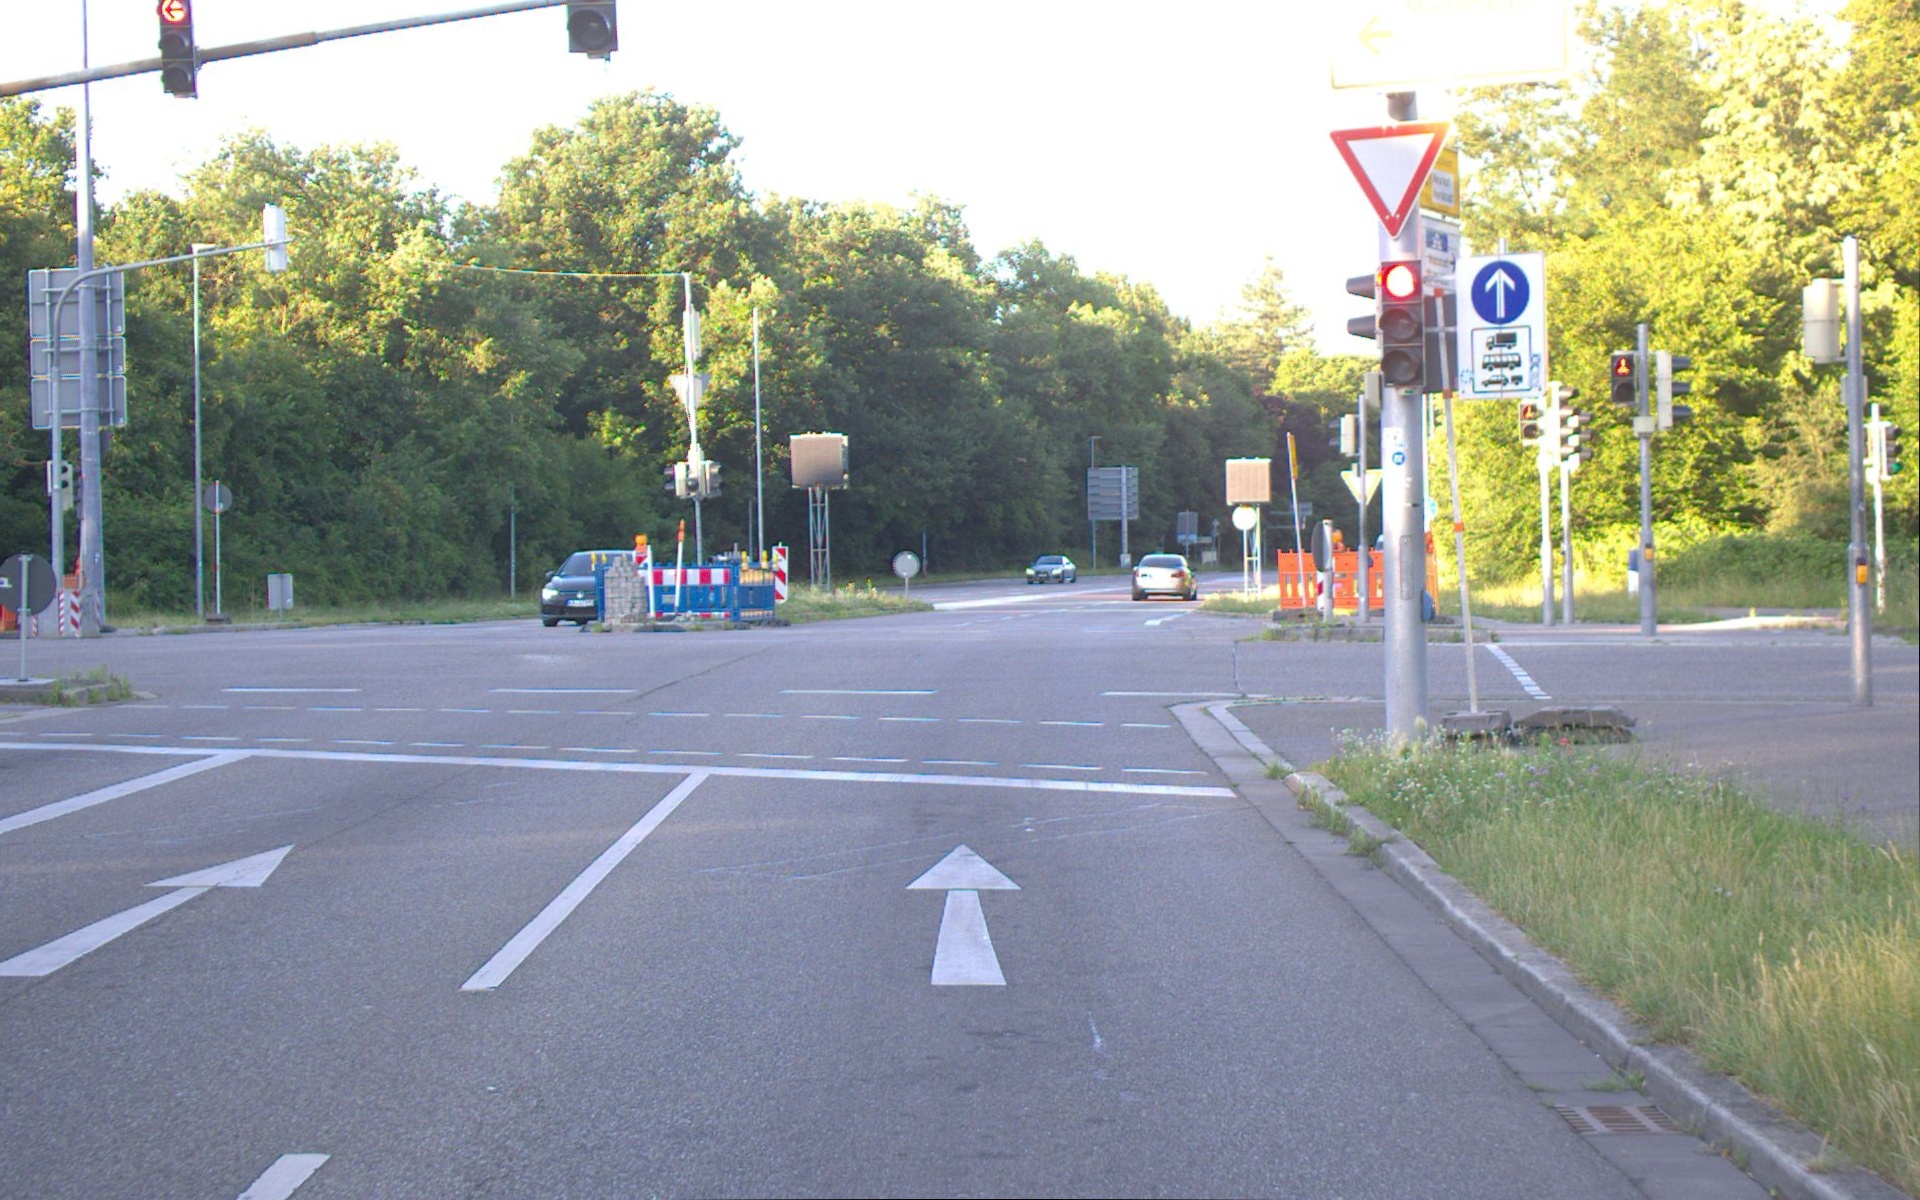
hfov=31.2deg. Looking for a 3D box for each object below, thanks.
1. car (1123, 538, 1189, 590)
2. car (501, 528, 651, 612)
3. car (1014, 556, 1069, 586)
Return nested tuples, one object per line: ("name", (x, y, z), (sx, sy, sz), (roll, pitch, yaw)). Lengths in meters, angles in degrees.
("car", (6.265, -1.163, 109.611), (1.994, 1.612, 4.000), (-1, 1, 5))
("car", (-7.338, -0.606, 66.147), (1.994, 1.524, 4.678), (-1, 1, 5))
("car", (4.128, -1.485, 173.475), (1.995, 1.415, 3.998), (0, 1, 14))
